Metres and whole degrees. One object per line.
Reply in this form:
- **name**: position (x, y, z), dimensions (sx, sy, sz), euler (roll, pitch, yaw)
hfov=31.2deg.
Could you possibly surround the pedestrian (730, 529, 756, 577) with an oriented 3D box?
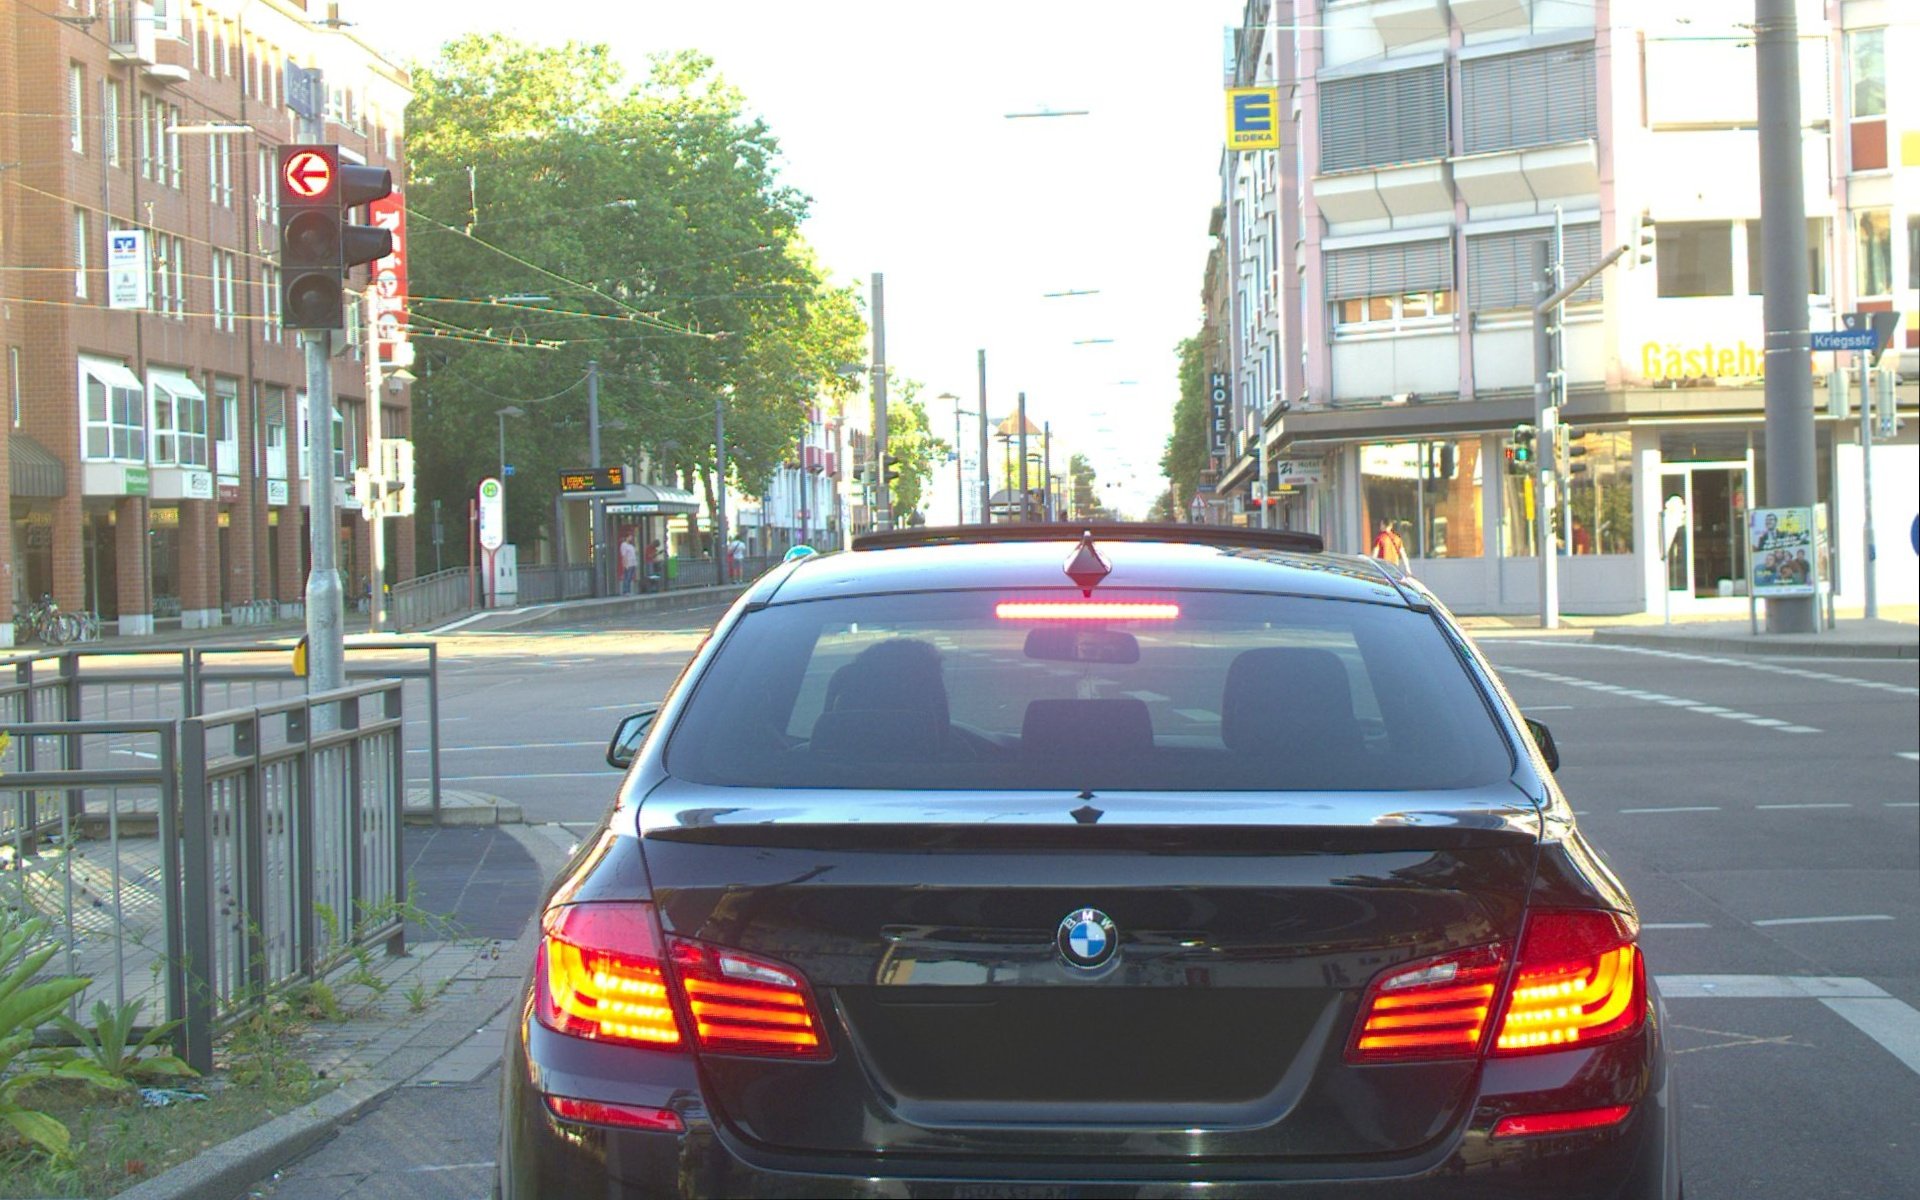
- **pedestrian**: position (-7.548, -1.642, 119.734), dimensions (0.723, 1.675, 0.991), euler (-1, 1, 6)

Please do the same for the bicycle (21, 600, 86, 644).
- **bicycle**: position (-19.285, 0.467, 73.165), dimensions (1.286, 0.919, 0.349), euler (0, 1, 0)

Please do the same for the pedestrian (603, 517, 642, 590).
- **pedestrian**: position (-9.315, -1.289, 94.884), dimensions (0.988, 2.007, 0.726), euler (0, 1, 2)

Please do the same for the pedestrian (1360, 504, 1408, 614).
- **pedestrian**: position (7.210, -0.694, 58.429), dimensions (0.684, 1.848, 0.671), euler (-1, 1, 0)

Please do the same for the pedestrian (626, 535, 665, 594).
- **pedestrian**: position (-9.154, -1.035, 99.993), dimensions (0.988, 1.675, 0.726), euler (-1, 1, 2)

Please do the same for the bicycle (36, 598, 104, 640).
- **bicycle**: position (-19.452, 0.417, 75.135), dimensions (1.412, 0.919, 0.444), euler (0, 1, -12)

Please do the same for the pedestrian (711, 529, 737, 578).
- **pedestrian**: position (-8.078, -1.600, 117.707), dimensions (0.723, 1.675, 0.991), euler (-1, 1, 6)

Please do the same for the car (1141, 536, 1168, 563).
- **car**: position (11.016, -2.861, 194.625), dimensions (1.473, 1.509, 3.096), euler (-1, 1, 2)

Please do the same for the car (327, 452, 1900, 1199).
- **car**: position (0.159, 0.565, 6.387), dimensions (1.993, 1.579, 4.000), euler (1, 1, -1)

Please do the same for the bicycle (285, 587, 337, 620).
- **bicycle**: position (-18.088, 0.101, 95.827), dimensions (1.412, 0.919, 0.403), euler (0, 1, -10)

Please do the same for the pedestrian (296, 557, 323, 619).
- **pedestrian**: position (-17.866, -0.333, 94.408), dimensions (0.486, 1.675, 0.655), euler (-1, 1, 7)

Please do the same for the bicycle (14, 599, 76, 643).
- **bicycle**: position (-19.675, 0.451, 73.921), dimensions (1.285, 0.919, 0.349), euler (0, 1, -12)
